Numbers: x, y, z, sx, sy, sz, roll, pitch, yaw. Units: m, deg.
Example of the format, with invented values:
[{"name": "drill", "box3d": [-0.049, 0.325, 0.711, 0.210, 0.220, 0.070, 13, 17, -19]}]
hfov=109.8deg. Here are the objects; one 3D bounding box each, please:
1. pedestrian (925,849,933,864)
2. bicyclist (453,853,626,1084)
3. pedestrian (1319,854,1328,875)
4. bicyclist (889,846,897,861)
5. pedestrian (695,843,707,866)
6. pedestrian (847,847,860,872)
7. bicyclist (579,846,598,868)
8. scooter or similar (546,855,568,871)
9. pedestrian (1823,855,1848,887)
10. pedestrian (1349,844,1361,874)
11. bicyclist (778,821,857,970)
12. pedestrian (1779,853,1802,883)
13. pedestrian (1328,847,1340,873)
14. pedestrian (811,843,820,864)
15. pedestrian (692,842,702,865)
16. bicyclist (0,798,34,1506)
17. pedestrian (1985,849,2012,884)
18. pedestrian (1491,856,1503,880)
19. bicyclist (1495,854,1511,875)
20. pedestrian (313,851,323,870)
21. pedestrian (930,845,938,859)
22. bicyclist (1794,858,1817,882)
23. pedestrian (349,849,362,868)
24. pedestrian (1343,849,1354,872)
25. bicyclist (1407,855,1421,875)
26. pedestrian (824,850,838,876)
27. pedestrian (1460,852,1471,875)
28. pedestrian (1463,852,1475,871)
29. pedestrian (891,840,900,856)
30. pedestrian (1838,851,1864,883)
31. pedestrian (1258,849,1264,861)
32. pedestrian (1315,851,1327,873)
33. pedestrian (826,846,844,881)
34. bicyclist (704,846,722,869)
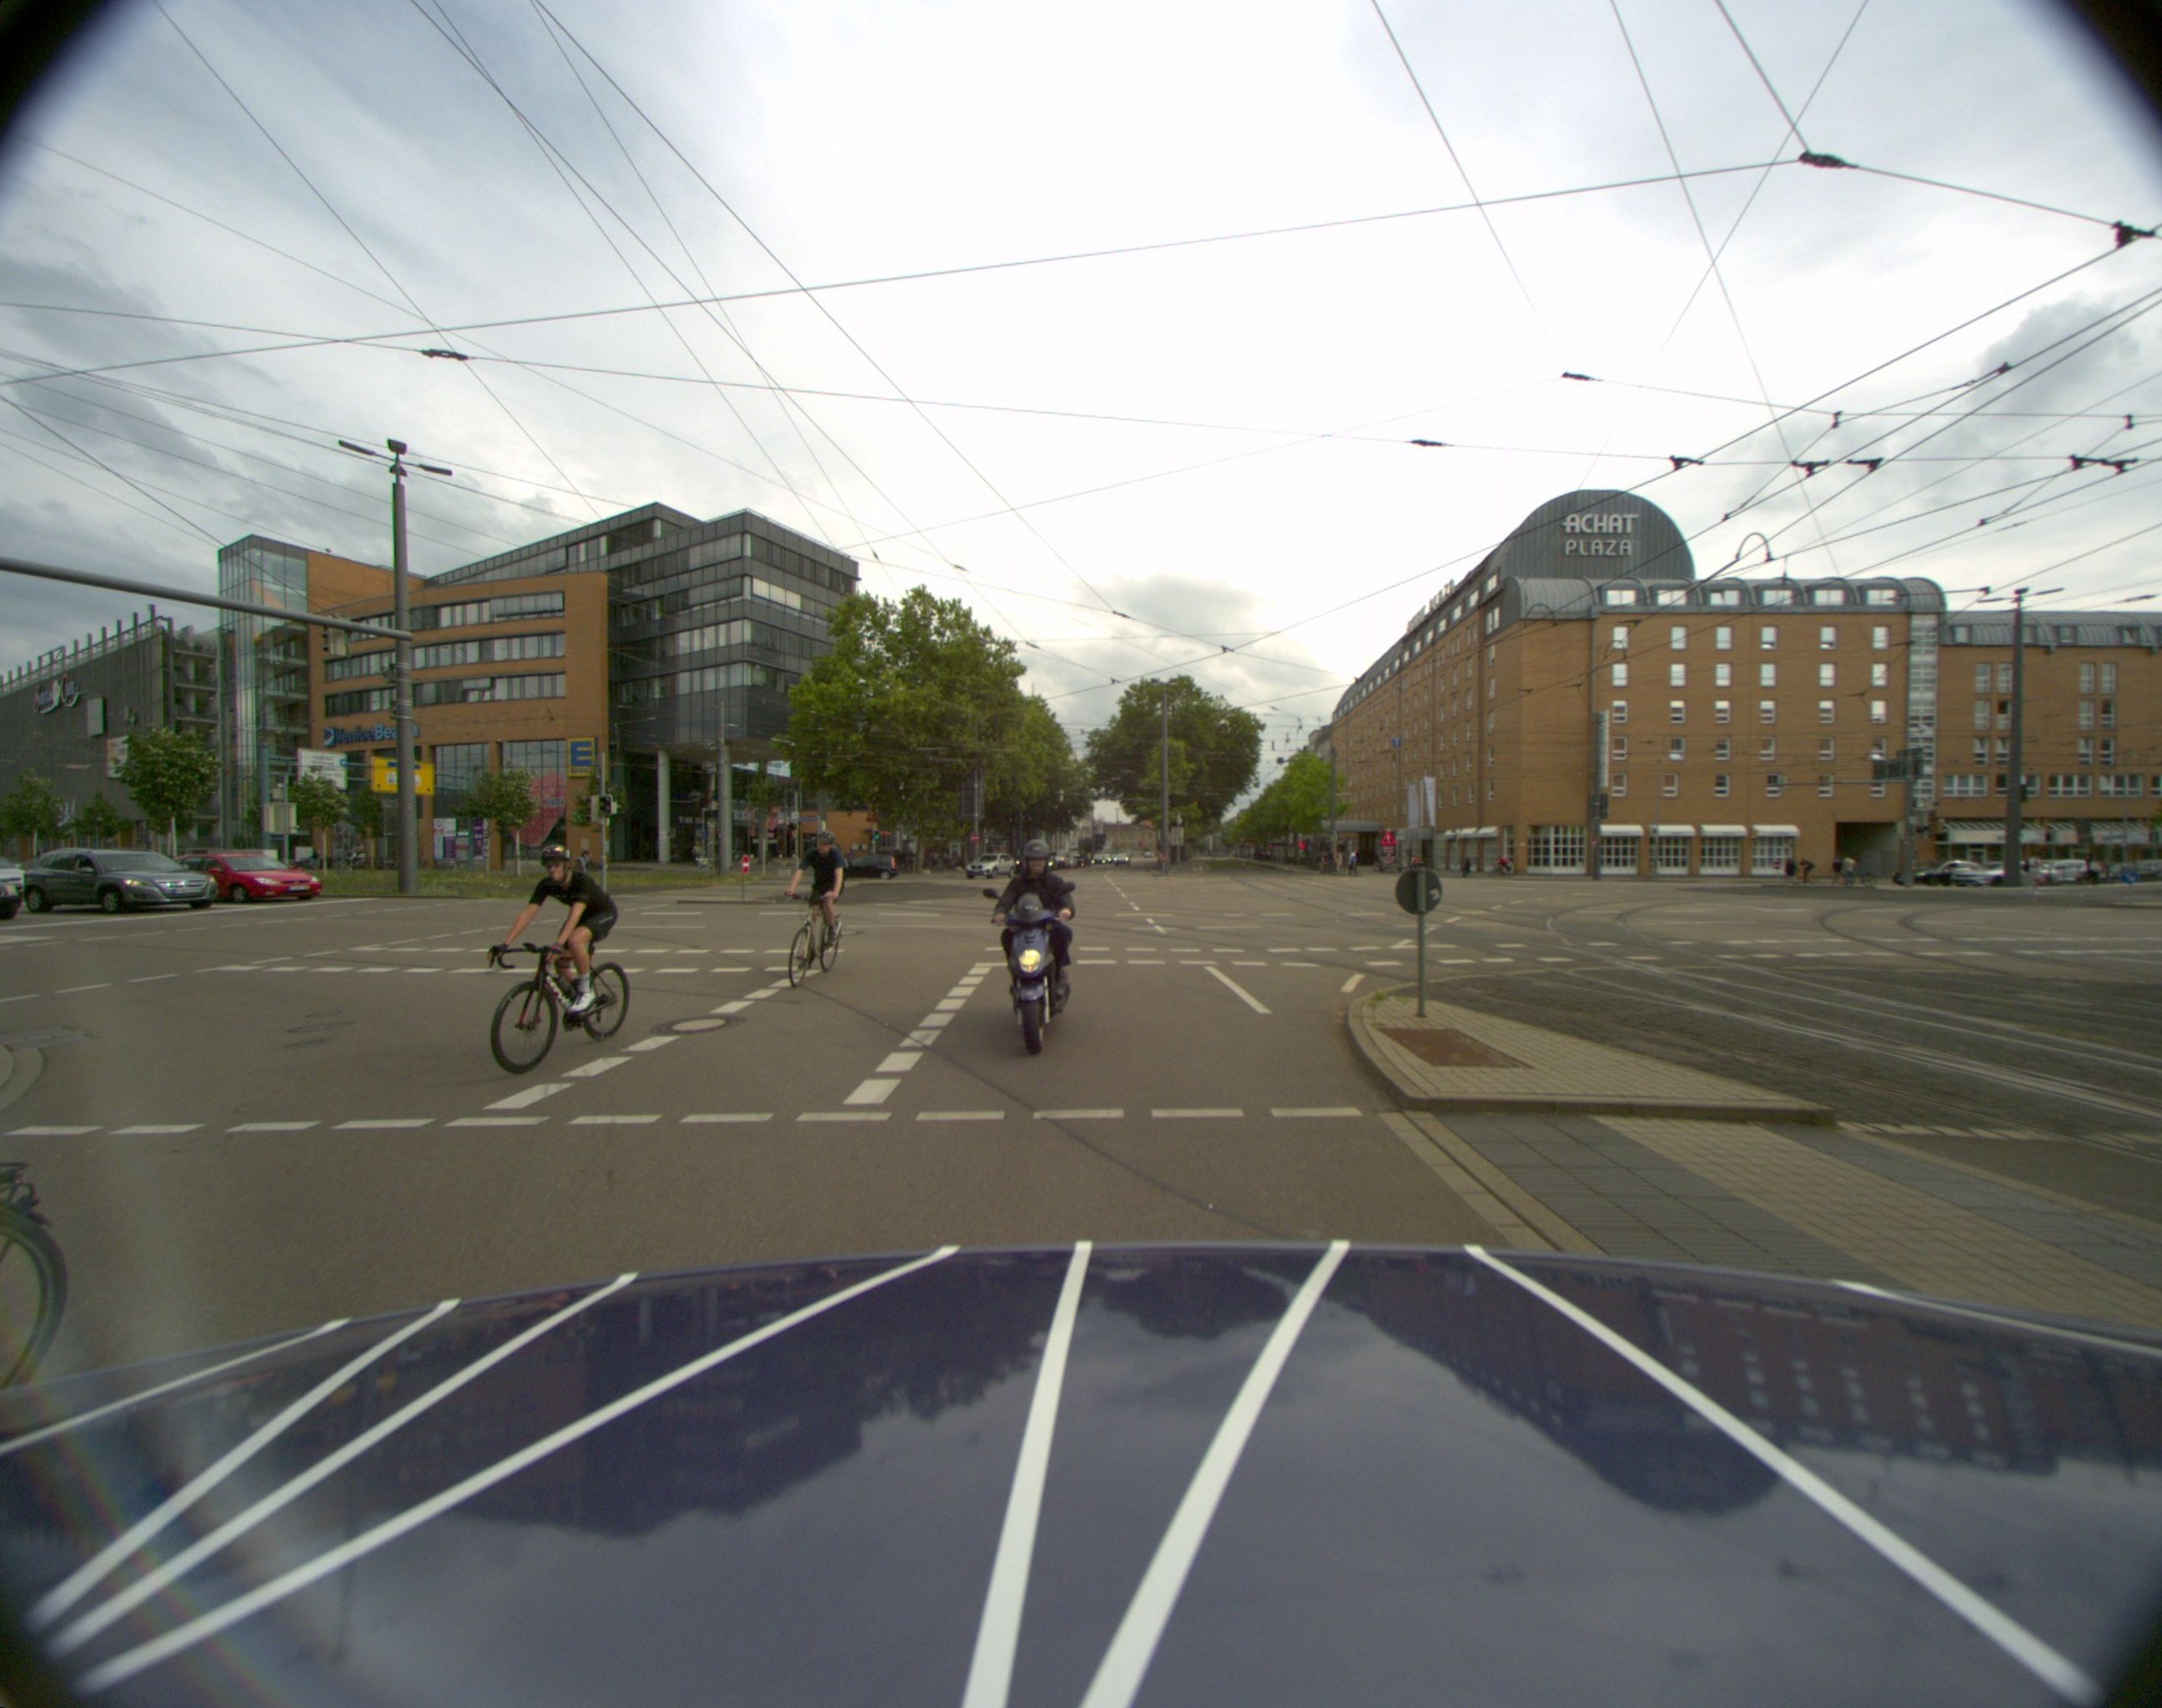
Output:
[{"name": "pedestrian", "box3d": [-15.455, 0.286, 77.279, 0.587, 1.502, 0.683, 1, 2, 14]}, {"name": "bicyclist", "box3d": [-4.176, 0.815, 5.945, 0.591, 1.644, 1.035, 1, 1, 2]}, {"name": "pedestrian", "box3d": [19.481, 0.834, 61.032, 0.564, 1.696, 0.534, 0, 2, -7]}, {"name": "bicyclist", "box3d": [-18.312, -0.061, 74.014, 0.531, 1.424, 0.739, 1, 2, 12]}, {"name": "pedestrian", "box3d": [-31.032, 0.006, 62.038, 0.671, 1.855, 0.627, 1, 1, 28]}, {"name": "pedestrian", "box3d": [-16.086, 0.367, 53.743, 0.587, 1.722, 0.744, 0, 1, 10]}, {"name": "bicyclist", "box3d": [-36.345, 0.196, 56.065, 0.977, 1.607, 0.638, 1, 2, 9]}, {"name": "scooter or similar", "box3d": [-40.754, 0.695, 59.092, 1.472, 1.160, 0.486, 1, 2, 14]}, {"name": "pedestrian", "box3d": [41.454, 0.917, 41.762, 0.578, 1.722, 0.750, 0, 2, -5]}, {"name": "pedestrian", "box3d": [19.802, 0.342, 54.901, 0.564, 2.118, 0.534, 0, 2, -7]}, {"name": "bicyclist", "box3d": [-3.280, 0.494, 9.521, 0.591, 1.760, 1.035, 1, 1, 2]}, {"name": "pedestrian", "box3d": [41.844, 0.815, 44.826, 0.578, 1.722, 0.750, 0, 1, -5]}, {"name": "pedestrian", "box3d": [18.992, 0.410, 57.136, 0.693, 1.941, 0.534, 0, 2, 0]}, {"name": "pedestrian", "box3d": [-23.402, -0.023, 66.936, 0.545, 1.855, 0.515, 1, 1, 29]}, {"name": "pedestrian", "box3d": [-30.943, -0.030, 61.287, 0.513, 1.855, 0.547, 1, 1, 35]}, {"name": "bicyclist", "box3d": [-2.989, 0.741, 1.425, 0.591, 1.758, 1.035, 1, 1, 2]}, {"name": "pedestrian", "box3d": [45.321, 0.602, 37.532, 0.632, 1.722, 0.578, 0, 2, -9]}, {"name": "pedestrian", "box3d": [30.856, 1.049, 56.359, 0.749, 1.722, 0.579, 0, 1, 35]}, {"name": "bicyclist", "box3d": [30.550, 0.739, 55.029, 0.864, 1.493, 0.637, 0, 2, 8]}, {"name": "pedestrian", "box3d": [-65.482, 0.540, 65.204, 0.446, 1.590, 0.486, 1, 2, 26]}, {"name": "pedestrian", "box3d": [-16.386, -0.234, 84.824, 0.586, 1.502, 0.683, 1, 2, 26]}, {"name": "bicyclist", "box3d": [46.706, 1.020, 49.005, 0.865, 1.492, 0.636, 0, 1, -1]}, {"name": "pedestrian", "box3d": [-60.421, 0.397, 63.261, 0.446, 1.590, 0.617, 1, 2, 26]}, {"name": "pedestrian", "box3d": [19.748, 0.469, 56.070, 0.564, 1.696, 0.578, 0, 2, -7]}, {"name": "bicyclist", "box3d": [25.391, 0.824, 57.938, 0.651, 1.493, 0.817, 0, 2, -3]}, {"name": "pedestrian", "box3d": [-16.095, 0.592, 48.899, 0.587, 1.642, 0.744, 0, 2, 10]}, {"name": "pedestrian", "box3d": [28.641, 0.716, 56.612, 0.563, 1.696, 0.535, 0, 2, 2]}, {"name": "pedestrian", "box3d": [30.439, 0.608, 59.644, 0.536, 1.498, 0.648, -1, 2, -33]}, {"name": "pedestrian", "box3d": [-19.164, -0.620, 78.417, 0.745, 1.722, 0.586, -1, 2, -45]}, {"name": "pedestrian", "box3d": [42.386, 0.727, 41.826, 0.578, 1.722, 0.750, 0, 2, -5]}, {"name": "pedestrian", "box3d": [25.370, 0.193, 107.038, 0.648, 1.696, 0.624, 0, 1, 7]}, {"name": "pedestrian", "box3d": [18.736, 0.622, 59.373, 0.684, 1.696, 0.534, 0, 2, -7]}, {"name": "pedestrian", "box3d": [-12.657, 0.494, 39.087, 0.677, 1.781, 0.669, 0, 1, 4]}, {"name": "bicyclist", "box3d": [-26.648, 0.246, 55.062, 0.977, 1.606, 0.638, 1, 1, 9]}]
